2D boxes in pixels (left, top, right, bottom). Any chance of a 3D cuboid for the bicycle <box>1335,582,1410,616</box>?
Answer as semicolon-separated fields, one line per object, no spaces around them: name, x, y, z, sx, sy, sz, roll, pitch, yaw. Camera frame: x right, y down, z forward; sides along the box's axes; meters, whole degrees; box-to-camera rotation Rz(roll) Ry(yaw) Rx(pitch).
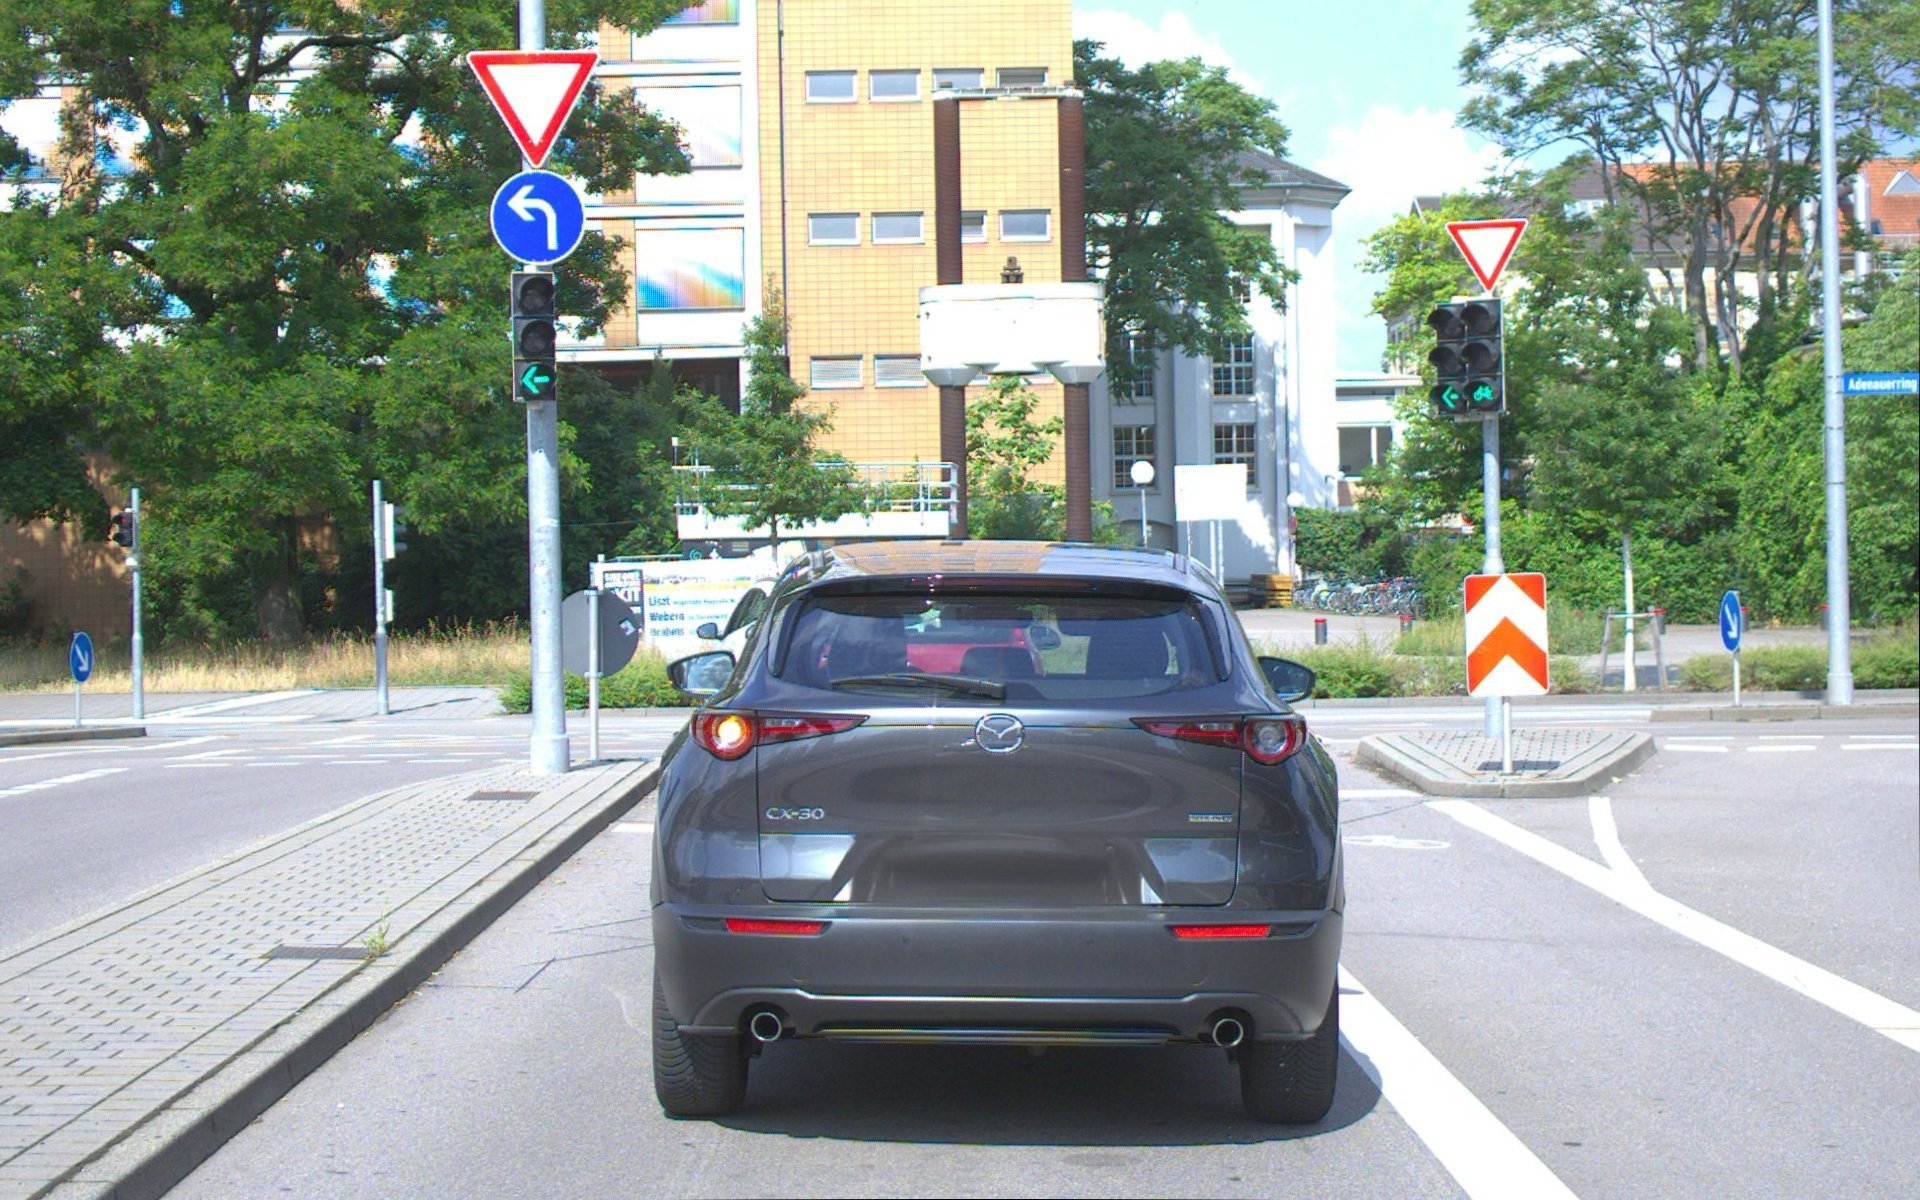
bicycle;11.931;-0.039;99.508;2.055;0.933;0.804;-1;0;-1

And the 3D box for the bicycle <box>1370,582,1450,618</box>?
bicycle;12.408;0.007;94.774;2.055;0.933;0.804;-1;0;-1

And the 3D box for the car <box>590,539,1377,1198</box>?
car;0.018;0.606;10.153;1.806;1.503;4.205;1;1;-1

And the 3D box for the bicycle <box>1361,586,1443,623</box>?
bicycle;11.831;0.112;92.055;2.055;0.933;0.804;-1;0;-1

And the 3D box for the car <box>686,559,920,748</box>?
car;-1.294;0.412;29.736;1.848;1.467;4.335;-1;0;-1

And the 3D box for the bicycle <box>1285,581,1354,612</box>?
bicycle;11.409;-0.124;109.105;2.055;0.933;0.804;-1;0;-1

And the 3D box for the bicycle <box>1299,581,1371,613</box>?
bicycle;11.377;-0.085;104.245;2.055;0.933;0.804;-1;0;-1

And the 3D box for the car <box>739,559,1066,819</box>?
car;-0.295;0.472;21.251;1.816;1.434;4.067;1;1;1
